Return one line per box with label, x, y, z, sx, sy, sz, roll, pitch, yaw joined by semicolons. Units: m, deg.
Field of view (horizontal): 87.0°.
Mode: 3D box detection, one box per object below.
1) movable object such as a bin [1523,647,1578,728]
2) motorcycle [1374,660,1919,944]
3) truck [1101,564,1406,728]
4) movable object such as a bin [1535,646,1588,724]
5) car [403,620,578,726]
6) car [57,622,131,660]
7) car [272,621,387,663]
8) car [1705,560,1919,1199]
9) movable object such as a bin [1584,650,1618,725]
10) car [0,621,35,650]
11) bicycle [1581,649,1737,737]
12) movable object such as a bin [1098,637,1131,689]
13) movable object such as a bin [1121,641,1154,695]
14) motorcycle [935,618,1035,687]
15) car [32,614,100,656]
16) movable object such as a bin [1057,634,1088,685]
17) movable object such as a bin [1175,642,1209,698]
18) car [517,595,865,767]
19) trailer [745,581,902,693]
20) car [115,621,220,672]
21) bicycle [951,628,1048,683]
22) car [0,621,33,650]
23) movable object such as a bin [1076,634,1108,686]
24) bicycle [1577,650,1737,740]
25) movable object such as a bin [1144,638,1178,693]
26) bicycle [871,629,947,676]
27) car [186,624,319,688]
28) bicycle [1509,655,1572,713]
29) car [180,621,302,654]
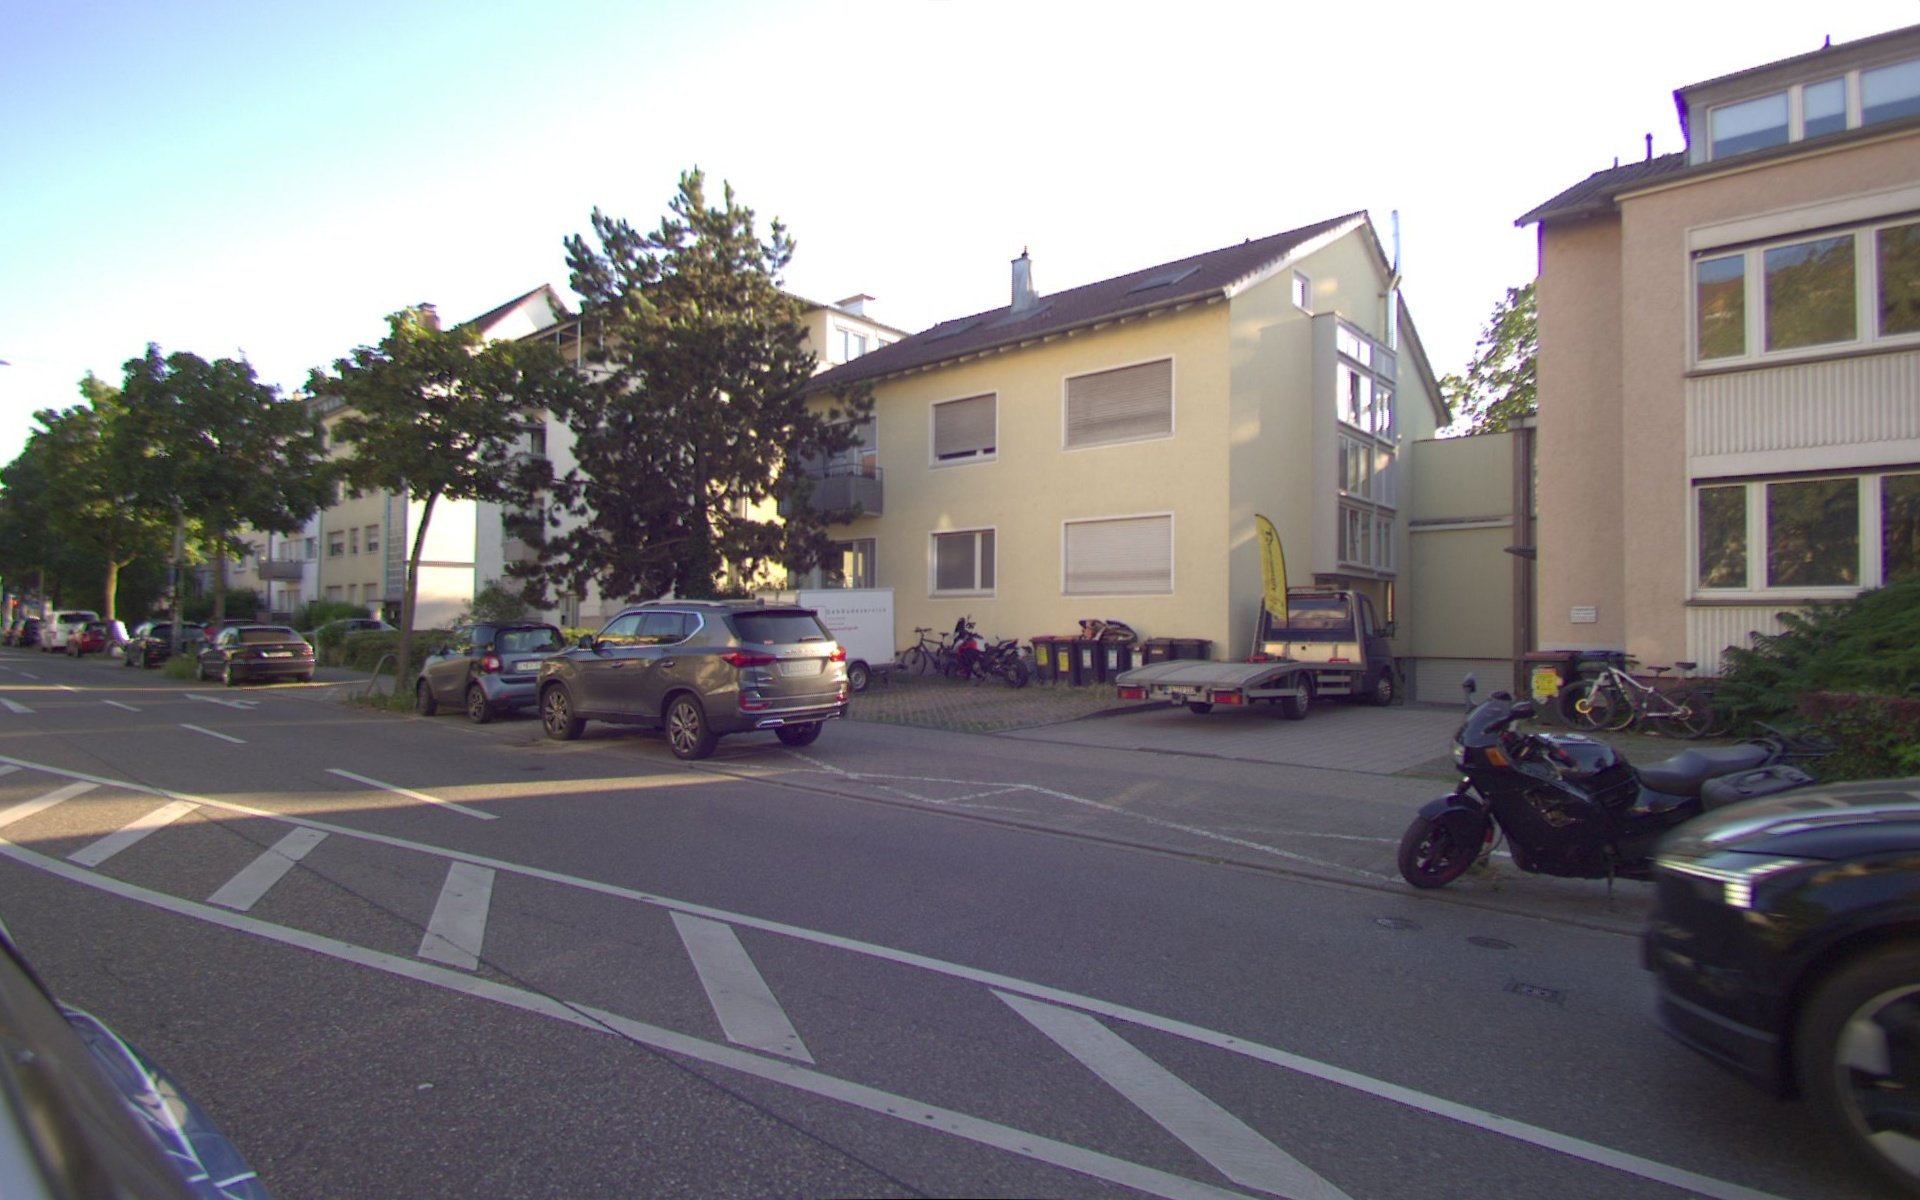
movable object such as a bin;8.386;1.229;14.364;0.586;1.099;0.483;-1;-3;42
motorcycle;3.670;1.012;5.722;2.350;1.276;1.176;0;-2;18
truck;5.191;0.738;16.961;2.275;2.202;6.822;-1;-2;41
movable object such as a bin;8.814;1.232;14.839;0.586;1.099;0.483;-1;-3;42
car;-7.686;1.119;16.514;2.747;1.567;1.557;-1;-2;40
car;-34.665;1.615;40.474;3.634;1.475;1.717;-1;-2;41
car;-24.283;1.597;39.032;1.686;1.535;3.421;-1;-3;42
car;4.139;0.741;2.151;3.998;1.582;1.816;0;-4;41
movable object such as a bin;9.214;1.240;14.543;0.349;1.046;0.430;-1;-3;41
car;-51.502;1.883;55.069;3.682;1.475;1.388;-1;0;43
bicycle;9.427;1.230;13.699;1.710;1.094;0.329;-1;-3;41
movable object such as a bin;3.082;1.249;20.197;0.450;1.026;0.497;-1;-3;40
movable object such as a bin;3.479;1.319;19.834;0.450;1.026;0.497;-1;-3;40
motorcycle;0.505;1.087;21.314;2.257;1.384;0.564;-1;-3;41
car;-39.958;1.538;45.193;4.190;1.823;1.717;-1;-2;41
movable object such as a bin;2.323;1.223;20.881;0.450;1.026;0.497;-1;-3;40
movable object such as a bin;4.375;1.309;19.075;0.450;1.026;0.497;-1;-3;40
car;-3.532;0.895;12.772;4.723;1.793;1.868;-1;-2;40
trailer;-2.644;0.724;19.933;1.551;2.029;2.745;-1;-3;39
car;-25.215;1.442;32.148;3.997;1.497;1.838;-1;-3;40
bicycle;0.836;1.185;22.075;2.257;1.149;0.564;-1;-2;41
car;-48.690;1.800;51.920;3.682;1.416;1.388;-1;0;43
movable object such as a bin;2.676;1.217;20.541;0.450;1.026;0.497;-1;-3;40
bicycle;9.206;1.230;13.422;1.710;1.094;0.329;-1;-3;41
movable object such as a bin;3.864;1.259;19.475;0.450;1.026;0.497;-1;-3;40
bicycle;-1.256;1.245;24.481;2.045;1.072;0.513;-1;-2;41
car;-17.357;1.312;24.736;4.442;1.418;1.620;-1;-2;41
bicycle;10.009;1.462;17.424;0.590;0.938;1.577;-1;-6;43
car;-34.600;1.767;48.831;1.735;1.416;4.515;-1;0;31
